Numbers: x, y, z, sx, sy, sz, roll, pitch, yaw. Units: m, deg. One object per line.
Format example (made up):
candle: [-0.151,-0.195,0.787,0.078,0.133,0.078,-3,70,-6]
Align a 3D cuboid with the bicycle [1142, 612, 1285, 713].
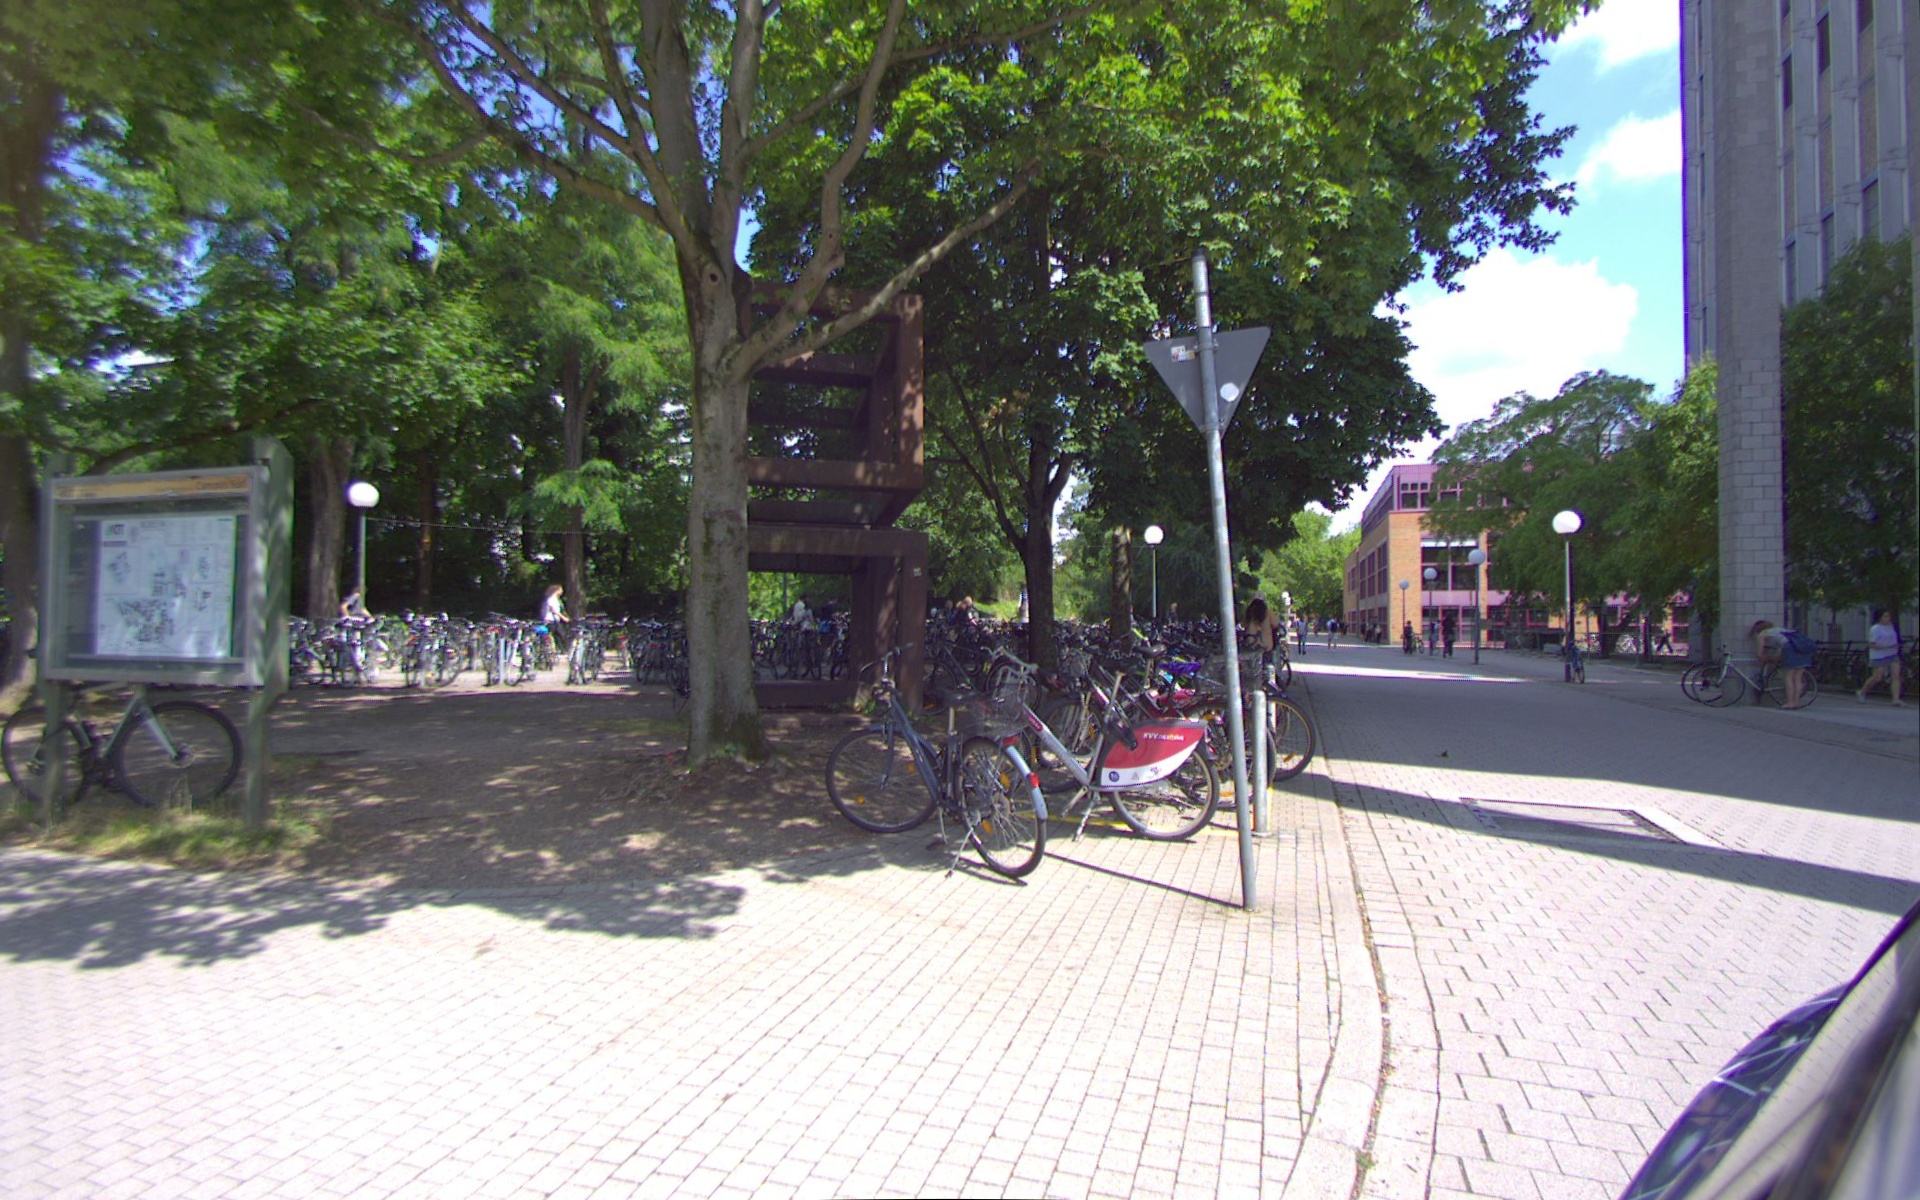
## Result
bicycle: [3.126,0.770,12.622,1.669,1.165,0.625,1,-3,11]

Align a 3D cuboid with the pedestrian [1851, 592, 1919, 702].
pedestrian: [15.390,0.756,16.716,0.742,1.763,0.929,-1,-2,27]

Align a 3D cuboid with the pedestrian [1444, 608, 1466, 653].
pedestrian: [20.649,1.260,42.213,0.736,1.785,0.968,1,2,23]

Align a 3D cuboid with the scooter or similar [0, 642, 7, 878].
scooter or similar: [-5.349,0.781,5.265,1.358,1.128,0.489,1,0,44]

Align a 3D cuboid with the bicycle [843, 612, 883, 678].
bicycle: [-1.878,0.840,19.446,0.427,1.185,1.849,1,0,-16]

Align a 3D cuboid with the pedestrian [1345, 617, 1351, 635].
pedestrian: [40.523,2.693,105.679,0.559,1.785,0.797,1,2,24]

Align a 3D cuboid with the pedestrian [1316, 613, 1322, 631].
pedestrian: [37.017,2.229,104.395,0.559,1.785,0.797,1,2,24]

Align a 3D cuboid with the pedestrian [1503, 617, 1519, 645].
pedestrian: [31.356,1.776,57.622,0.682,1.530,0.512,1,2,17]

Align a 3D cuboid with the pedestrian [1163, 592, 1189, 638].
pedestrian: [7.744,0.533,36.309,0.737,1.589,0.714,0,-1,27]

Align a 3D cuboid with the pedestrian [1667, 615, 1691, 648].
pedestrian: [40.420,1.745,56.927,0.972,1.785,0.732,2,2,45]

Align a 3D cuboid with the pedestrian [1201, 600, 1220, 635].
pedestrian: [11.141,0.783,45.058,0.504,1.530,0.693,-1,2,-25]

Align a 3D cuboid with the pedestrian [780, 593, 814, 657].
pedestrian: [-4.712,0.715,29.242,0.706,1.798,0.745,1,-1,-30]

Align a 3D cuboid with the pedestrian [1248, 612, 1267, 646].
pedestrian: [13.681,1.324,46.594,0.504,1.530,0.693,-1,2,-25]

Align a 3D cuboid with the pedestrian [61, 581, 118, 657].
pedestrian: [-20.921,0.453,24.327,0.709,1.798,0.742,1,-1,11]

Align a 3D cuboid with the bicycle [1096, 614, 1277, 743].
bicycle: [2.240,0.748,10.051,1.678,1.139,0.478,2,1,25]

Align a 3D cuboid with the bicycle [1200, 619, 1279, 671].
bicycle: [6.260,1.014,22.710,1.664,1.098,0.476,1,-3,15]

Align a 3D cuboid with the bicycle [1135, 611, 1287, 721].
bicycle: [2.963,0.747,11.962,1.676,1.165,0.623,2,1,21]

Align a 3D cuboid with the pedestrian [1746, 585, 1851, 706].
pedestrian: [12.596,0.672,15.231,0.735,1.763,0.937,0,-2,0]

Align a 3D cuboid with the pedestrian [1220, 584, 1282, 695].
pedestrian: [4.621,0.614,16.105,0.931,1.725,0.426,0,-3,15]

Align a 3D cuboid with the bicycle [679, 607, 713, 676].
bicycle: [-4.833,0.735,18.484,0.405,1.185,1.849,1,0,-20]

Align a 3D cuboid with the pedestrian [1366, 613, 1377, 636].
pedestrian: [32.653,1.952,80.302,0.734,1.785,0.969,1,2,18]

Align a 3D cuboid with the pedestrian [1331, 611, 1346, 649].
pedestrian: [18.265,1.448,48.840,0.556,1.785,0.801,0,2,13]

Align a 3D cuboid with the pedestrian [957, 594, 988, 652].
pedestrian: [0.379,0.730,32.004,0.706,1.812,0.746,1,-1,-25]

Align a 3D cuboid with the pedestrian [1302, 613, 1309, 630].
pedestrian: [35.767,2.216,104.731,0.559,1.785,0.797,1,2,24]

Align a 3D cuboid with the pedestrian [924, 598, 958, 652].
pedestrian: [-0.568,0.738,30.491,0.707,1.589,0.745,1,-1,-34]

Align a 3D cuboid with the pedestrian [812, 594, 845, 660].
pedestrian: [-3.630,0.739,27.887,0.706,1.798,0.658,1,-1,-27]

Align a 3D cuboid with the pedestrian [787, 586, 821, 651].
pedestrian: [-4.374,0.503,28.355,0.706,1.798,0.745,1,-1,-30]

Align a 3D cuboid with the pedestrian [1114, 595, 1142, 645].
pedestrian: [5.518,0.650,33.228,0.737,1.589,0.714,0,-1,27]

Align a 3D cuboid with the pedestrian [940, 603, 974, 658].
pedestrian: [-0.094,0.894,29.837,0.706,1.589,0.745,1,-1,-29]

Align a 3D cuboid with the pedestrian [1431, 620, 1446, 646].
pedestrian: [28.250,1.945,59.763,0.682,1.530,0.512,1,2,17]

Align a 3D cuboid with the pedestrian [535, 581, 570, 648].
pedestrian: [-11.079,0.393,27.516,0.707,1.798,0.745,1,-1,-33]

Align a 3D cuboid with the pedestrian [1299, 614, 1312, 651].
pedestrian: [15.025,1.399,44.059,0.509,1.530,0.687,1,2,21]

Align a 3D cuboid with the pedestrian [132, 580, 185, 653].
pedestrian: [-20.105,0.409,25.390,0.709,1.798,0.742,1,-1,11]

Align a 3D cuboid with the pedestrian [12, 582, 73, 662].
pedestrian: [-21.143,0.497,23.325,0.709,1.798,0.742,1,-1,11]

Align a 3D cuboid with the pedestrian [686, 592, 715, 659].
pedestrian: [-7.039,0.680,27.493,0.706,1.798,0.746,1,-1,-13]

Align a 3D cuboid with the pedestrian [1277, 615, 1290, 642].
pedestrian: [19.175,1.696,60.014,0.682,1.530,0.512,1,2,17]

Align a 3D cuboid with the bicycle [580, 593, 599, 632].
bicycle: [-10.839,0.345,29.621,0.468,1.107,1.614,0,0,-19]

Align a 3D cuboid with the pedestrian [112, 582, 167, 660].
pedestrian: [-19.181,0.479,23.681,0.706,1.798,0.746,1,-1,-12]

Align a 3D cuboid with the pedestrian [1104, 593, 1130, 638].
pedestrian: [5.580,0.548,36.009,0.737,1.589,0.714,0,-1,27]

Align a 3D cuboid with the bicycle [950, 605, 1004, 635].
bicycle: [0.583,0.673,33.974,1.716,0.943,0.587,-1,2,-24]

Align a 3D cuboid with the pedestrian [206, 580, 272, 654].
pedestrian: [-17.998,0.415,25.284,0.953,1.798,0.964,1,-1,-3]

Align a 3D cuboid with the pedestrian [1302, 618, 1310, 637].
pedestrian: [32.726,2.588,95.742,0.659,1.785,0.800,0,2,17]

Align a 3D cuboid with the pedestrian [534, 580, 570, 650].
pedestrian: [-10.653,0.394,26.434,0.707,1.798,0.745,1,-1,-33]

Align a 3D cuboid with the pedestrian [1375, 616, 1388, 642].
pedestrian: [29.643,2.018,71.184,0.734,1.785,0.969,1,2,18]

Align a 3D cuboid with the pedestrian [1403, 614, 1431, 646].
pedestrian: [22.830,1.501,50.524,1.183,1.530,0.730,-1,2,-32]

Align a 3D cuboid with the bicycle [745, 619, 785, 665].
bicycle: [-4.523,0.948,23.413,0.469,0.991,1.907,0,0,-24]

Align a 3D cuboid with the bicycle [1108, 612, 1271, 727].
bicycle: [2.567,0.745,11.353,1.678,1.139,0.623,2,1,25]

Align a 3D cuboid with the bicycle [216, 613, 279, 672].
bicycle: [-14.264,0.821,20.309,0.468,1.096,1.908,0,0,-17]

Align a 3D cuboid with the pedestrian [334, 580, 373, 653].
pedestrian: [-15.233,0.409,25.433,0.706,1.798,0.746,1,-1,-21]

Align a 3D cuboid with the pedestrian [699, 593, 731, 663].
pedestrian: [-6.461,0.733,26.670,0.795,1.798,0.856,1,-1,-14]

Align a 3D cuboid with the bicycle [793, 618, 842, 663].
bicycle: [-3.383,0.937,23.942,0.469,0.991,1.905,0,0,-30]

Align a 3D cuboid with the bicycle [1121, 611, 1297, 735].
bicycle: [2.564,0.716,10.467,1.678,1.139,0.561,2,1,25]

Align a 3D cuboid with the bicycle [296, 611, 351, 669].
bicycle: [-12.976,0.789,20.678,0.468,1.096,1.908,0,0,-17]

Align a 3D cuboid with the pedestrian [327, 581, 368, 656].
pedestrian: [-14.923,0.440,24.685,0.706,1.798,0.746,1,-1,-21]
